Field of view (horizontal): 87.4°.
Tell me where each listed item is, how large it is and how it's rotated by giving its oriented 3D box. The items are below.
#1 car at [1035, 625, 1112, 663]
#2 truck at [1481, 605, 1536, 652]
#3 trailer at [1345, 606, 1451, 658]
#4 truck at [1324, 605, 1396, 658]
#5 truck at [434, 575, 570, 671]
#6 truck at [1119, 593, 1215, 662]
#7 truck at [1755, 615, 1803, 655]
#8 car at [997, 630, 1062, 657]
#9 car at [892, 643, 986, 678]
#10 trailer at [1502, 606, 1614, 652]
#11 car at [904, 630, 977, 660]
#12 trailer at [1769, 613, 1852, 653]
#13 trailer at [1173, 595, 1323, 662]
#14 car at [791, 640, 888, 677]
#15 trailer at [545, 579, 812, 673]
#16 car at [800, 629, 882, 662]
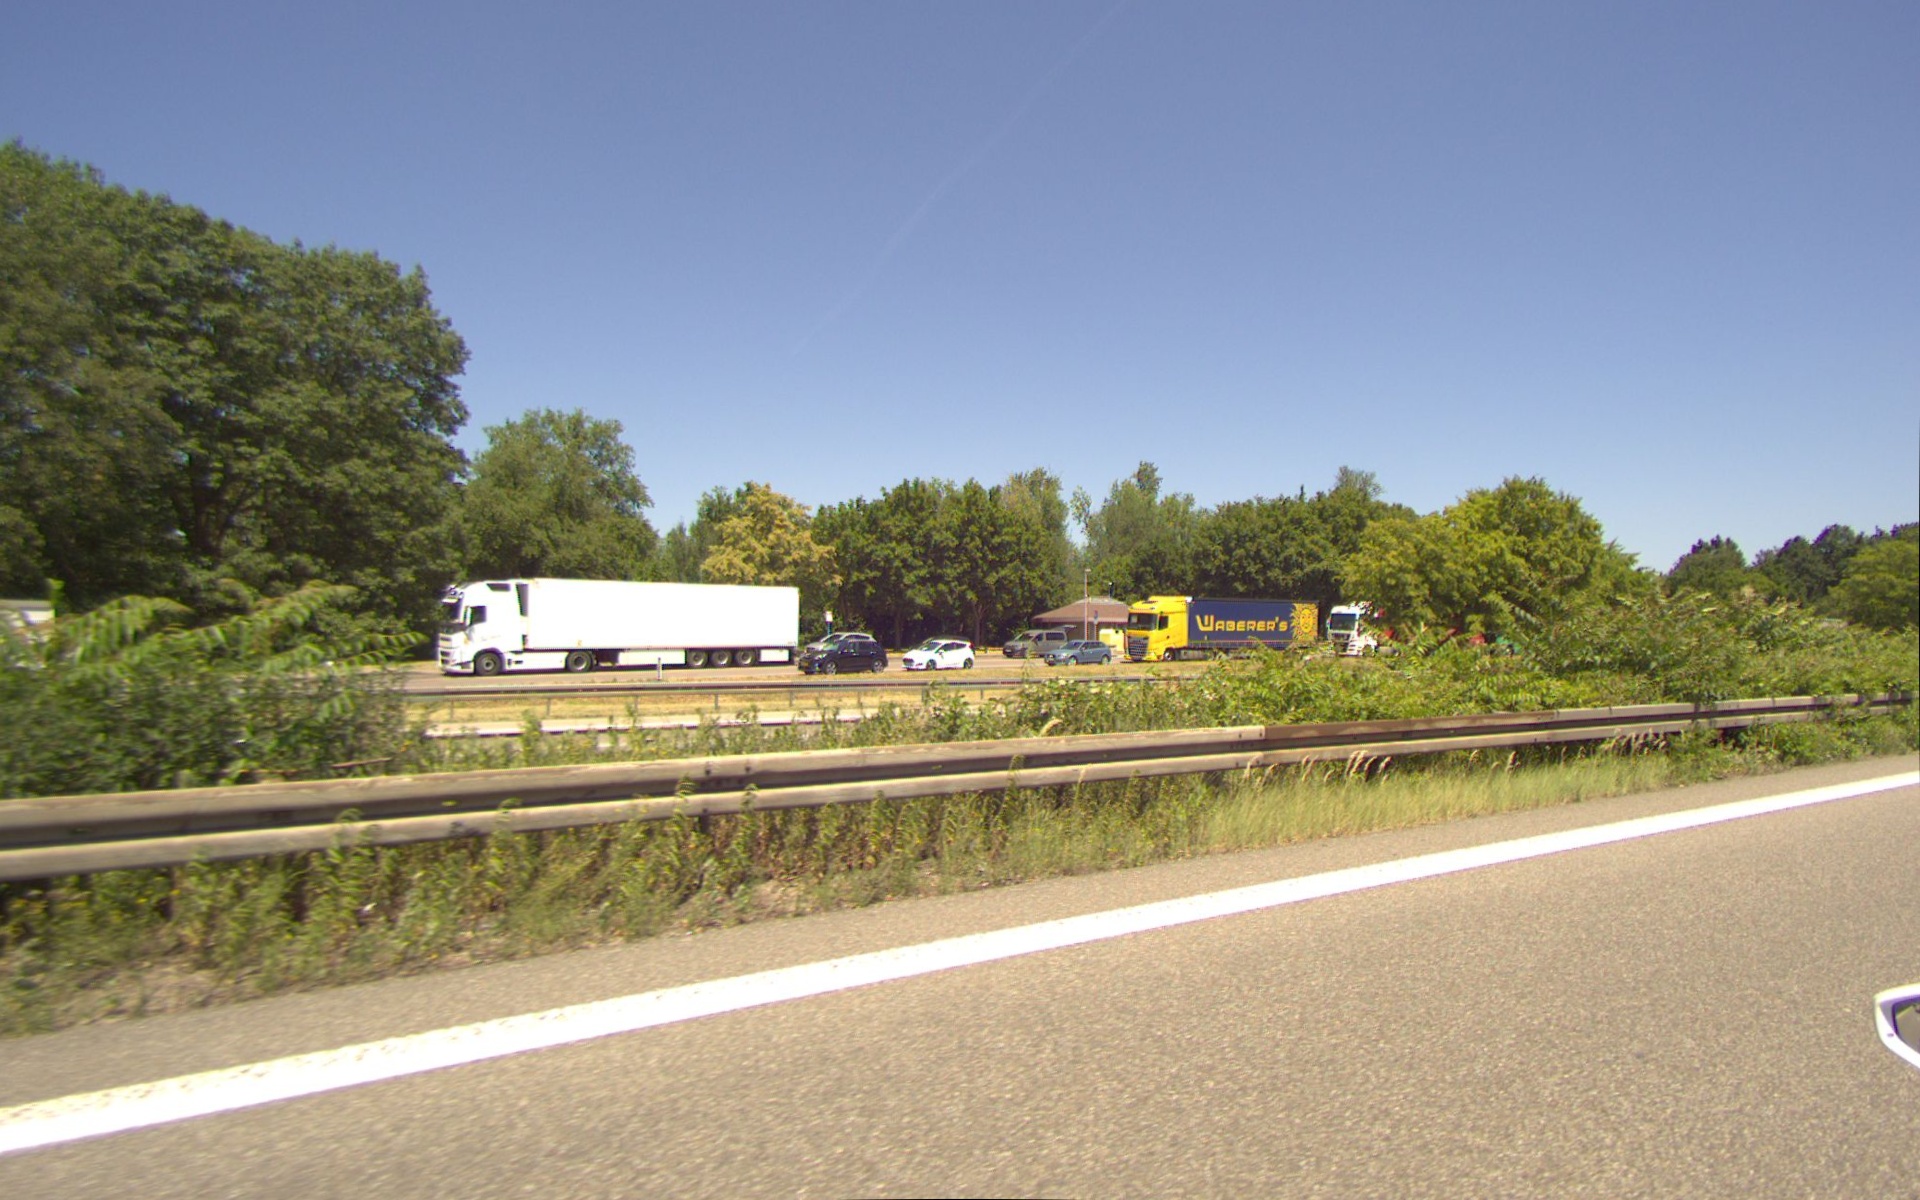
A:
[{"bbox_3d":[6.247,2.398,55.056,3.965,2.040,1.978,2,-2,-38],"label":"car"},{"bbox_3d":[45.820,2.386,83.864,4.400,3.795,1.985,1,-1,-29],"label":"truck"},{"bbox_3d":[32.753,2.389,74.912,9.514,3.663,2.439,2,0,-34],"label":"trailer"},{"bbox_3d":[28.784,2.255,72.231,4.948,3.663,2.439,2,-1,-34],"label":"truck"},{"bbox_3d":[-19.341,1.019,42.524,4.656,3.818,2.586,2,-2,-42],"label":"truck"},{"bbox_3d":[12.413,1.666,60.046,5.815,3.976,2.434,2,-2,-37],"label":"truck"},{"bbox_3d":[82.268,3.521,100.875,3.750,3.921,2.249,1,-2,-25],"label":"truck"},{"bbox_3d":[4.470,2.777,64.544,3.970,1.712,1.976,2,-2,-42],"label":"car"},{"bbox_3d":[-1.007,2.942,49.542,4.388,1.601,1.978,2,-2,-38],"label":"car"},{"bbox_3d":[52.264,2.571,87.512,13.430,3.777,1.985,2,-1,-29],"label":"trailer"},{"bbox_3d":[-1.132,2.619,59.180,3.970,1.712,1.976,2,-2,-42],"label":"car"},{"bbox_3d":[87.533,3.418,103.284,10.559,3.921,2.284,1,-2,-25],"label":"trailer"},{"bbox_3d":[18.788,1.869,64.878,12.374,4.005,2.434,2,-2,-37],"label":"trailer"},{"bbox_3d":[-5.422,2.602,45.408,3.974,1.601,1.974,2,-3,-44],"label":"car"},{"bbox_3d":[-13.067,1.305,48.252,12.511,4.023,2.586,2,-2,-42],"label":"trailer"},{"bbox_3d":[-6.418,2.459,54.336,3.970,1.712,1.976,2,-2,-42],"label":"car"}]
